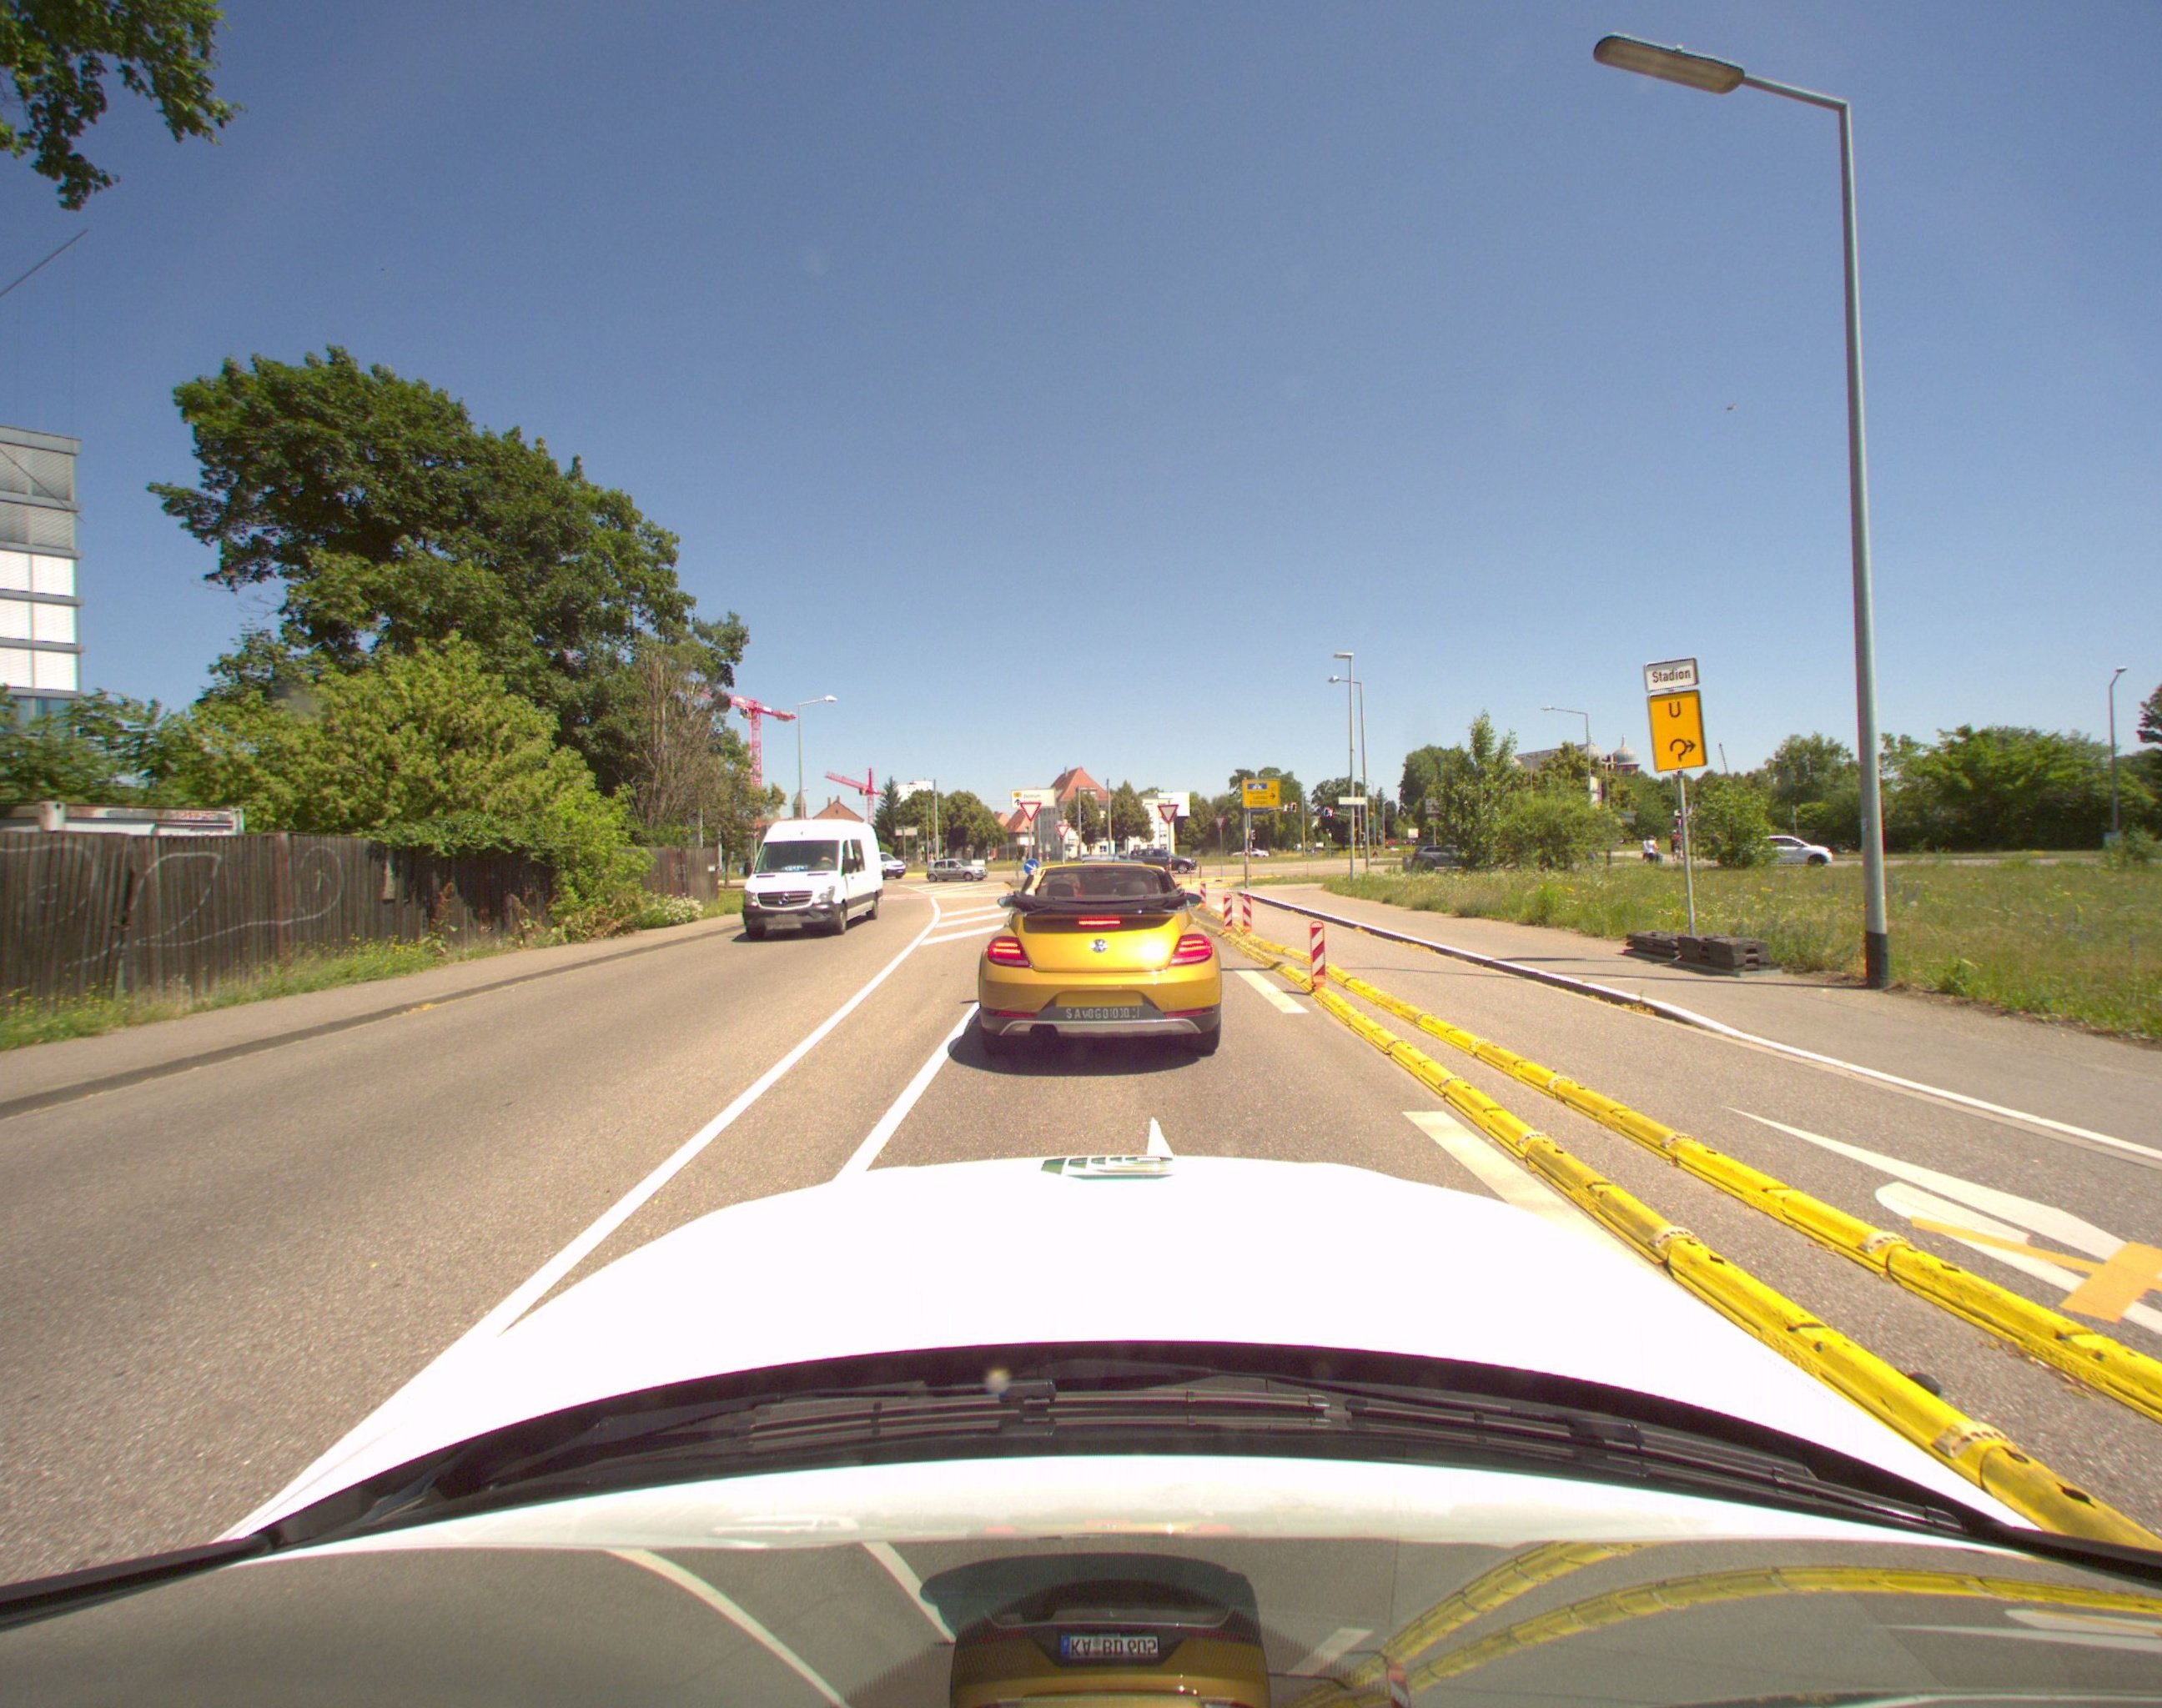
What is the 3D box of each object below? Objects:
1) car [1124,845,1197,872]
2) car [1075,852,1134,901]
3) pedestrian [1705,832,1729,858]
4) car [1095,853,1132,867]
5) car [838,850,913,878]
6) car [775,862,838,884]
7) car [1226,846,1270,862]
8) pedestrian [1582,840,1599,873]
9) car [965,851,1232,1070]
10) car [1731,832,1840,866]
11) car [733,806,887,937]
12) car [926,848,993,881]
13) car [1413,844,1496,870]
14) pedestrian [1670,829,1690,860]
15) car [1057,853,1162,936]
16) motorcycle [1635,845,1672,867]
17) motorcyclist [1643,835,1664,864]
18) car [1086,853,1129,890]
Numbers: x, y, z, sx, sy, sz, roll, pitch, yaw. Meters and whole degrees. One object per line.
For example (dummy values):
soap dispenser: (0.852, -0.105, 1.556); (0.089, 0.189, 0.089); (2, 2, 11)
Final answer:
car: (4.999, 0.255, 50.876); (4.406, 1.596, 2.005); (-1, 0, 9)
car: (0.760, 0.680, 26.235); (1.730, 1.442, 4.002); (-1, 0, 2)
pedestrian: (38.012, -0.521, 48.652); (0.789, 1.563, 0.823); (-1, 0, 3)
car: (4.470, 0.847, 112.658); (4.891, 1.786, 2.030); (-2, 0, 6)
car: (-14.418, 0.704, 57.080); (4.924, 1.850, 2.012); (-1, 0, 26)
car: (-18.212, 1.258, 54.049); (3.971, 1.444, 1.642); (-1, 0, 27)
car: (21.972, -0.013, 107.214); (5.113, 1.786, 2.039); (-3, 0, 34)
pedestrian: (24.283, 0.115, 38.814); (0.495, 1.563, 0.514); (-1, 0, 1)
car: (0.167, 0.709, 7.276); (1.746, 1.422, 3.778); (-1, 0, 1)
car: (34.602, -0.216, 40.153); (3.948, 1.552, 1.751); (-1, 0, 37)
car: (-6.219, 0.355, 19.672); (2.017, 2.539, 6.812); (-2, 0, -6)
car: (-7.371, 0.629, 49.475); (3.634, 1.850, 1.641); (-3, -1, 21)
car: (21.709, 0.176, 47.527); (4.161, 1.391, 1.910); (-1, 0, 17)
pedestrian: (36.643, -0.590, 49.825); (0.647, 1.870, 0.737); (-1, 0, 3)
car: (0.569, 0.719, 16.406); (1.841, 1.442, 4.002); (-1, 0, 2)
motorcycle: (25.988, 0.085, 36.958); (1.712, 0.970, 0.625); (-1, 0, -28)
motorcyclist: (26.009, -0.203, 37.005); (0.616, 1.289, 0.576); (-1, -1, -28)
car: (1.124, 0.716, 35.010); (1.730, 1.477, 4.002); (-1, 0, 2)
